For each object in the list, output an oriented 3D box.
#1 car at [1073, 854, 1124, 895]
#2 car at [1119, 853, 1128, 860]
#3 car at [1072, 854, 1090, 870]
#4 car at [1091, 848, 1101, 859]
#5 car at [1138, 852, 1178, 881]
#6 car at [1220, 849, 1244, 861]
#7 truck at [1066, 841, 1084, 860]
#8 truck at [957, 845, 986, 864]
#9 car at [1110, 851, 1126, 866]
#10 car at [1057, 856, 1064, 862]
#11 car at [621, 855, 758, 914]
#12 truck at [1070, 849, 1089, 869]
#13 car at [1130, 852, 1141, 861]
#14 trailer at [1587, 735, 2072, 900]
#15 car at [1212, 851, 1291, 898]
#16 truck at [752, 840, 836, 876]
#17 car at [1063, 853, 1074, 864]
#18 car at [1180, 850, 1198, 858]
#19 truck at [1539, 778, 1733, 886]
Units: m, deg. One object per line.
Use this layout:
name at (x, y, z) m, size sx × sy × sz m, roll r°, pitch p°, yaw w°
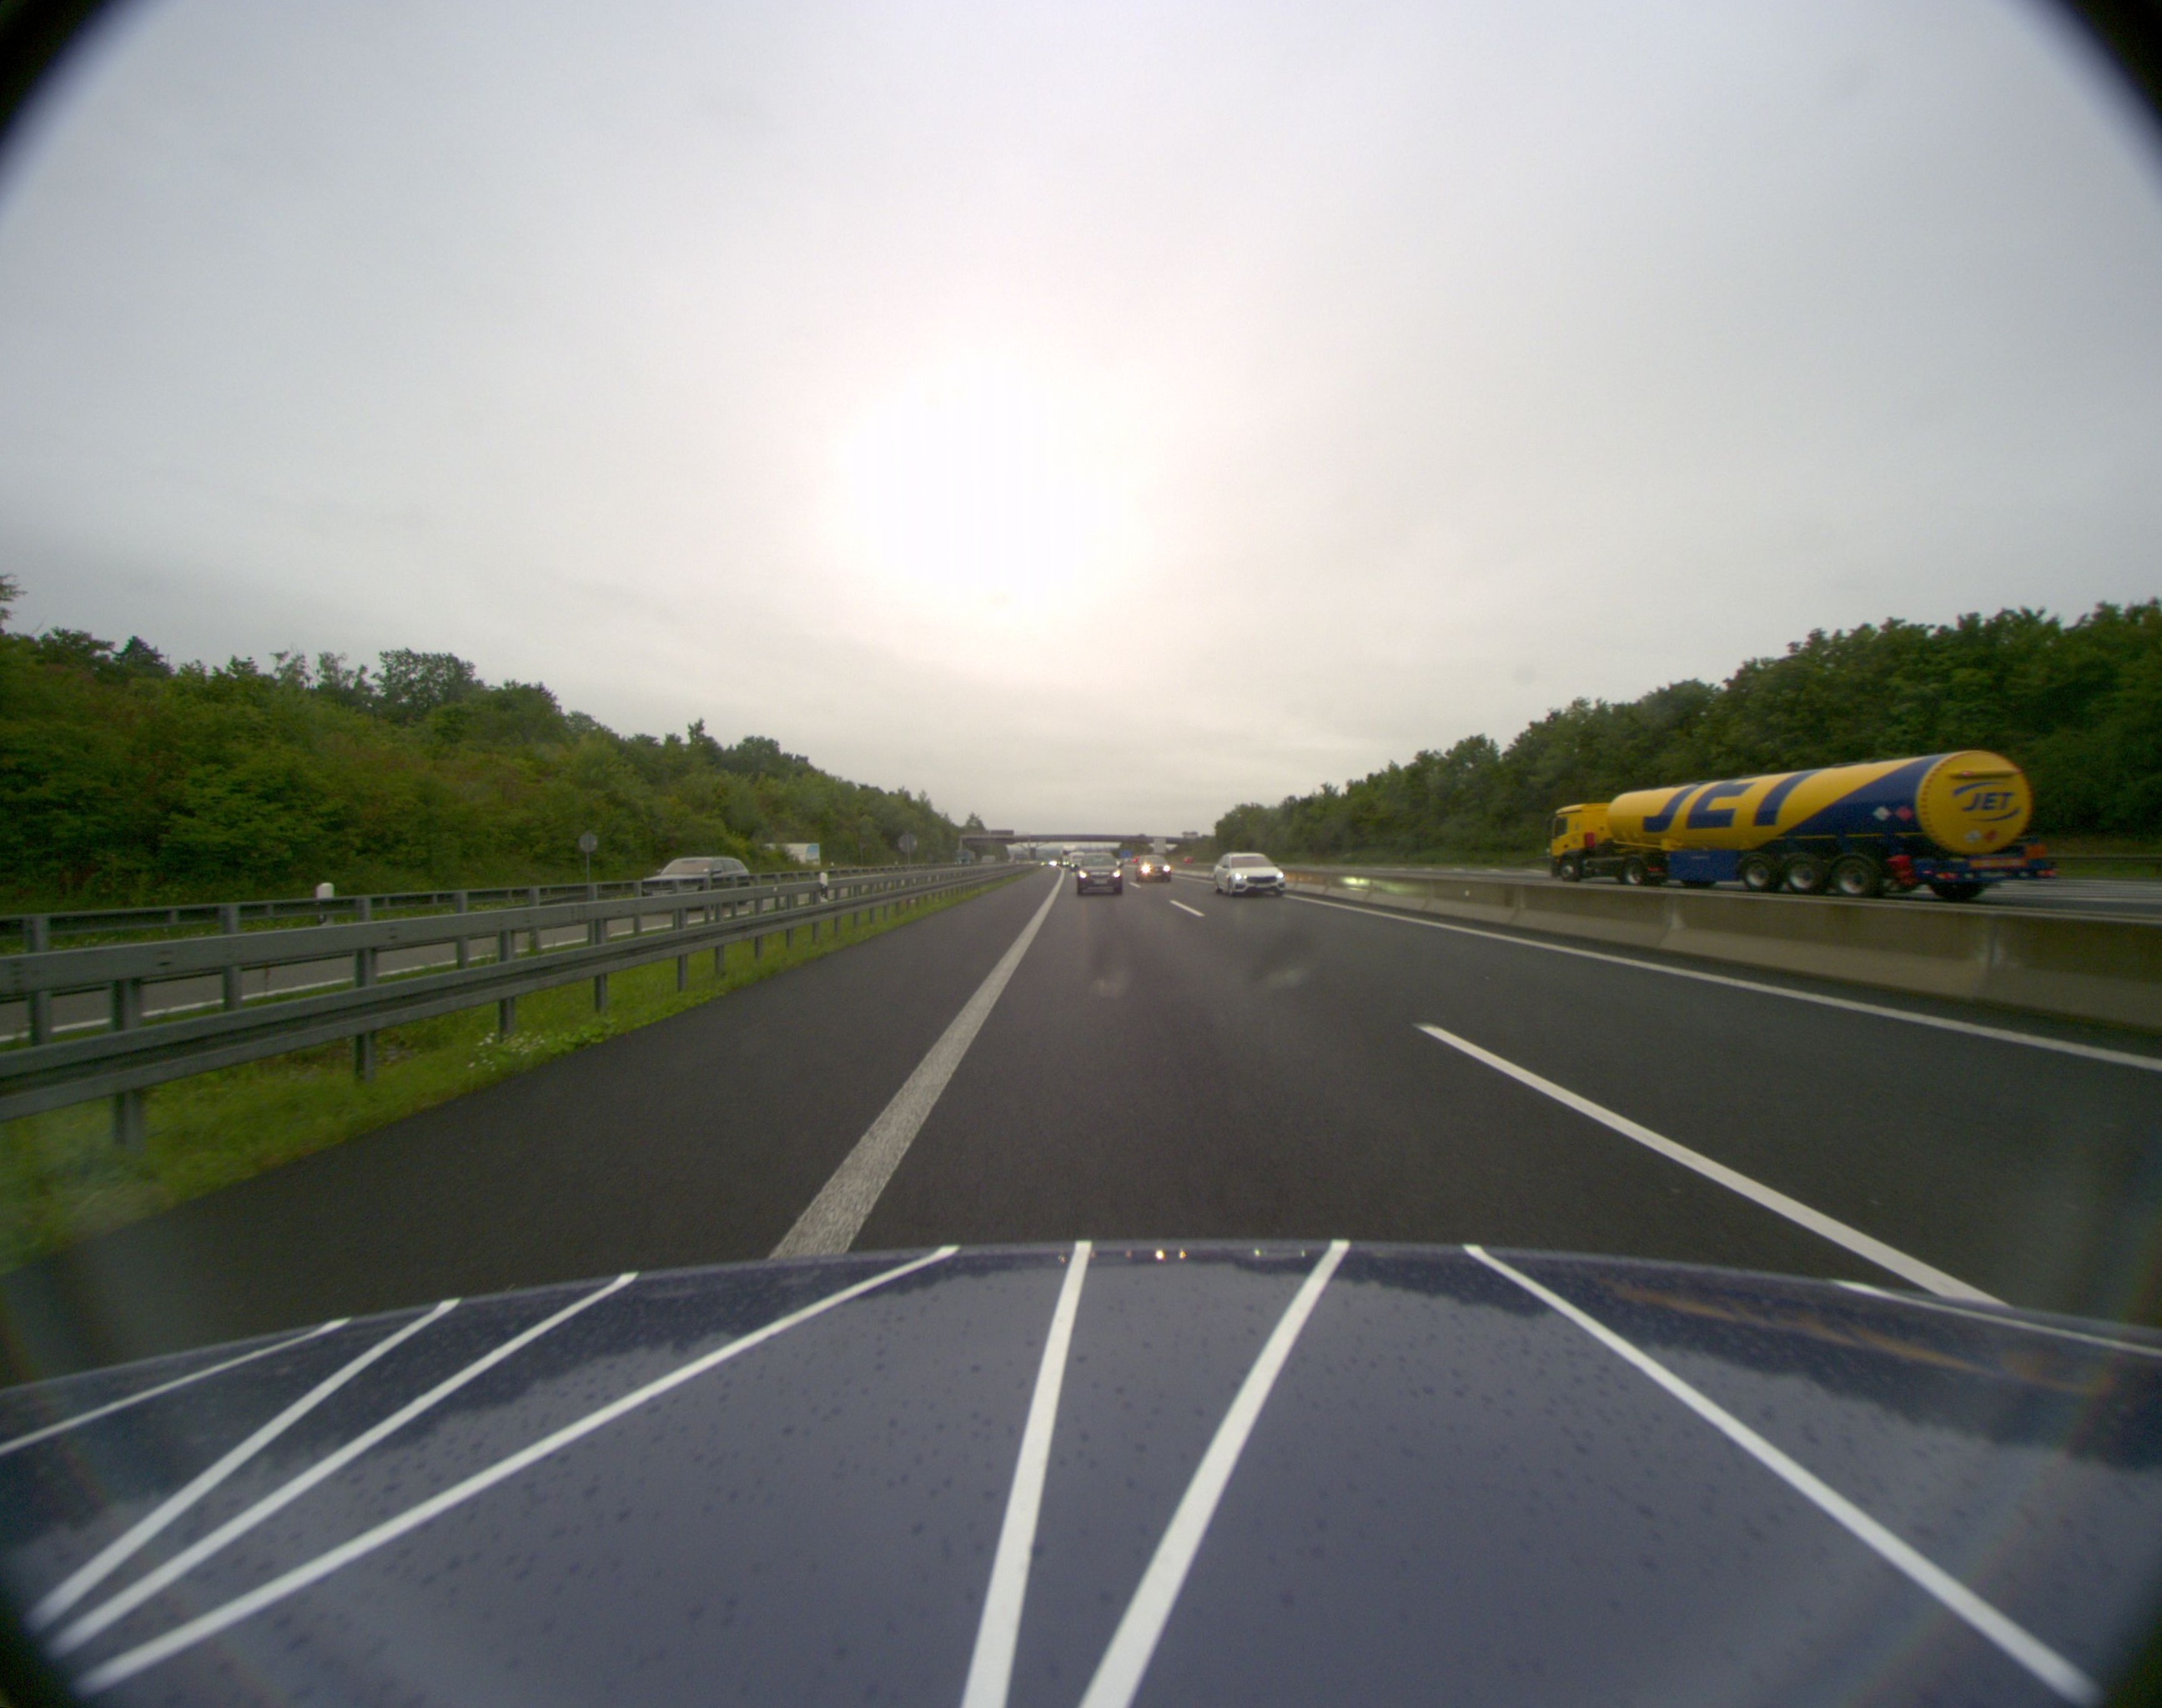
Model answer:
car at (0.687, 0.786, 30.902) m, size 1.905 × 1.497 × 4.114 m, roll -1°, pitch 0°, yaw 1°
car at (11.058, 0.545, 196.651) m, size 2.185 × 1.686 × 5.251 m, roll -1°, pitch 0°, yaw 3°
car at (0.026, 0.885, 83.665) m, size 1.825 × 1.669 × 4.000 m, roll -1°, pitch 0°, yaw 1°
car at (3.020, -0.086, 150.822) m, size 1.998 × 2.002 × 4.037 m, roll -1°, pitch 0°, yaw 1°
car at (4.319, 0.674, 43.212) m, size 1.905 × 1.497 × 4.114 m, roll -1°, pitch 0°, yaw 1°
car at (22.797, 0.150, 114.846) m, size 2.187 × 1.686 × 4.565 m, roll -1°, pitch 0°, yaw -8°
truck at (-1.157, -0.683, 143.782) m, size 3.154 × 3.332 × 13.098 m, roll -1°, pitch 0°, yaw -1°
truck at (-20.624, 0.099, 144.120) m, size 2.908 × 3.397 × 13.355 m, roll -1°, pitch 0°, yaw 2°
car at (4.643, 0.537, 95.868) m, size 1.716 × 1.724 × 3.999 m, roll -1°, pitch 0°, yaw -1°
car at (-6.148, 1.341, 224.067) m, size 1.917 × 1.671 × 4.000 m, roll -1°, pitch 0°, yaw 1°
car at (-12.338, 0.881, 24.342) m, size 2.013 × 1.645 × 4.472 m, roll -1°, pitch 0°, yaw 0°
truck at (-0.129, 0.544, 90.525) m, size 2.175 × 2.214 × 5.642 m, roll -1°, pitch 0°, yaw 1°
car at (10.986, 0.544, 153.753) m, size 2.185 × 1.686 × 4.865 m, roll -1°, pitch 0°, yaw 3°
trailer at (19.623, -0.809, 21.767) m, size 2.768 × 3.378 × 11.447 m, roll -2°, pitch 0°, yaw 1°
car at (5.886, 0.658, 26.740) m, size 1.905 × 1.497 × 4.114 m, roll -1°, pitch 0°, yaw 1°
truck at (-29.250, 0.330, 78.073) m, size 2.905 × 3.397 × 9.294 m, roll -1°, pitch 0°, yaw 17°
car at (-2.098, 0.777, 126.253) m, size 1.716 × 1.724 × 3.999 m, roll -1°, pitch 0°, yaw -1°
car at (21.332, 0.013, 149.791) m, size 2.187 × 1.686 × 4.624 m, roll -1°, pitch 0°, yaw -10°
truck at (19.759, -0.728, 27.565) m, size 2.768 × 3.378 × 5.845 m, roll -2°, pitch 1°, yaw 1°
